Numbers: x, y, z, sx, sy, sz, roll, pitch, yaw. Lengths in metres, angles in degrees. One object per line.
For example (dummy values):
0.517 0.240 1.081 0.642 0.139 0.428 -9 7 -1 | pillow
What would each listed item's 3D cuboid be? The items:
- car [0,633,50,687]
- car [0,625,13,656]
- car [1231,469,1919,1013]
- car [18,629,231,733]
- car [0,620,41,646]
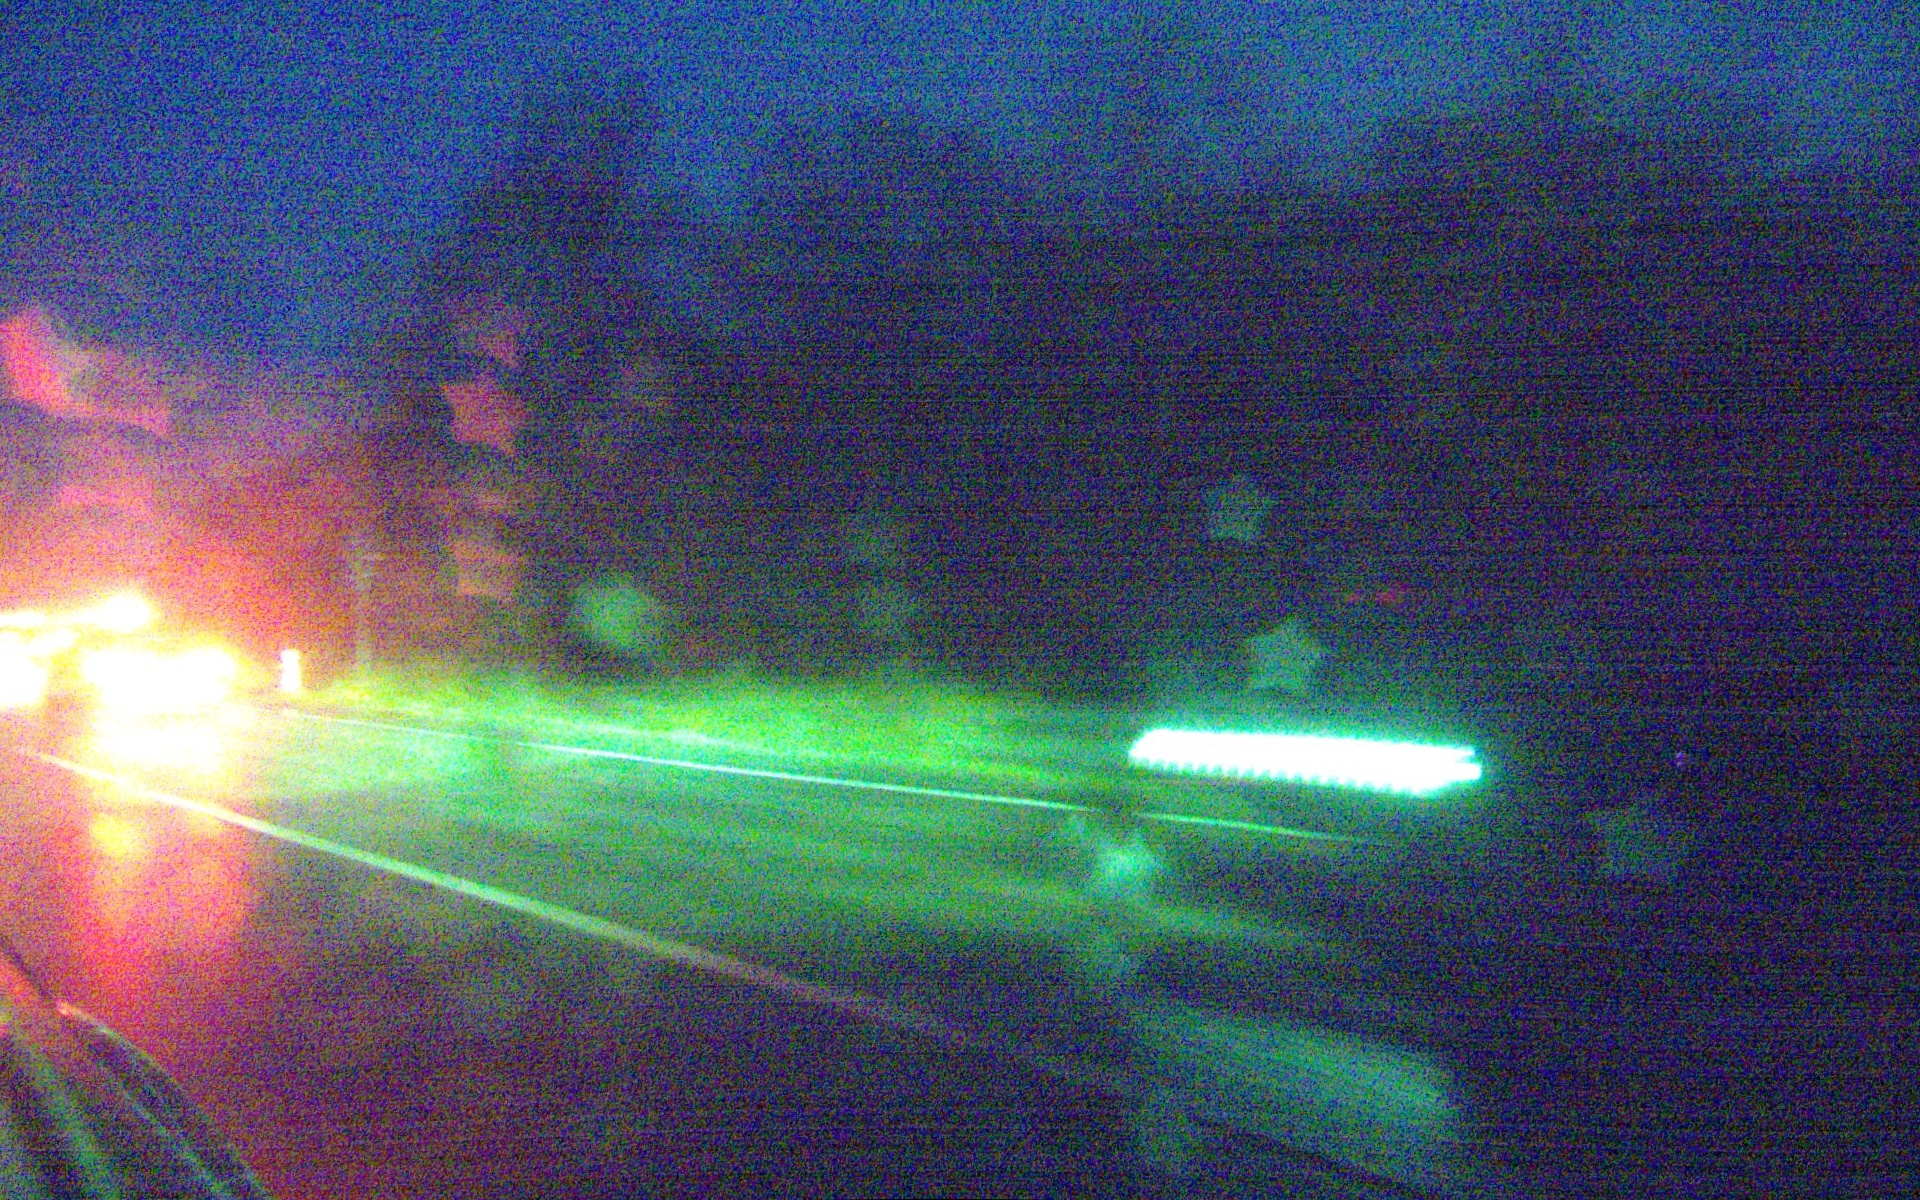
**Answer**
-27.604 1.685 29.157 4.233 1.399 1.752 -1 -1 44 | car
-46.906 1.955 48.818 1.750 1.399 4.116 0 -1 -44 | car
3.776 0.457 3.940 4.948 1.760 1.845 -1 -1 33 | car
-13.409 1.201 16.177 4.029 1.399 1.755 -1 -1 37 | car
-57.659 2.011 61.908 1.748 1.495 4.390 0 -1 -37 | car
